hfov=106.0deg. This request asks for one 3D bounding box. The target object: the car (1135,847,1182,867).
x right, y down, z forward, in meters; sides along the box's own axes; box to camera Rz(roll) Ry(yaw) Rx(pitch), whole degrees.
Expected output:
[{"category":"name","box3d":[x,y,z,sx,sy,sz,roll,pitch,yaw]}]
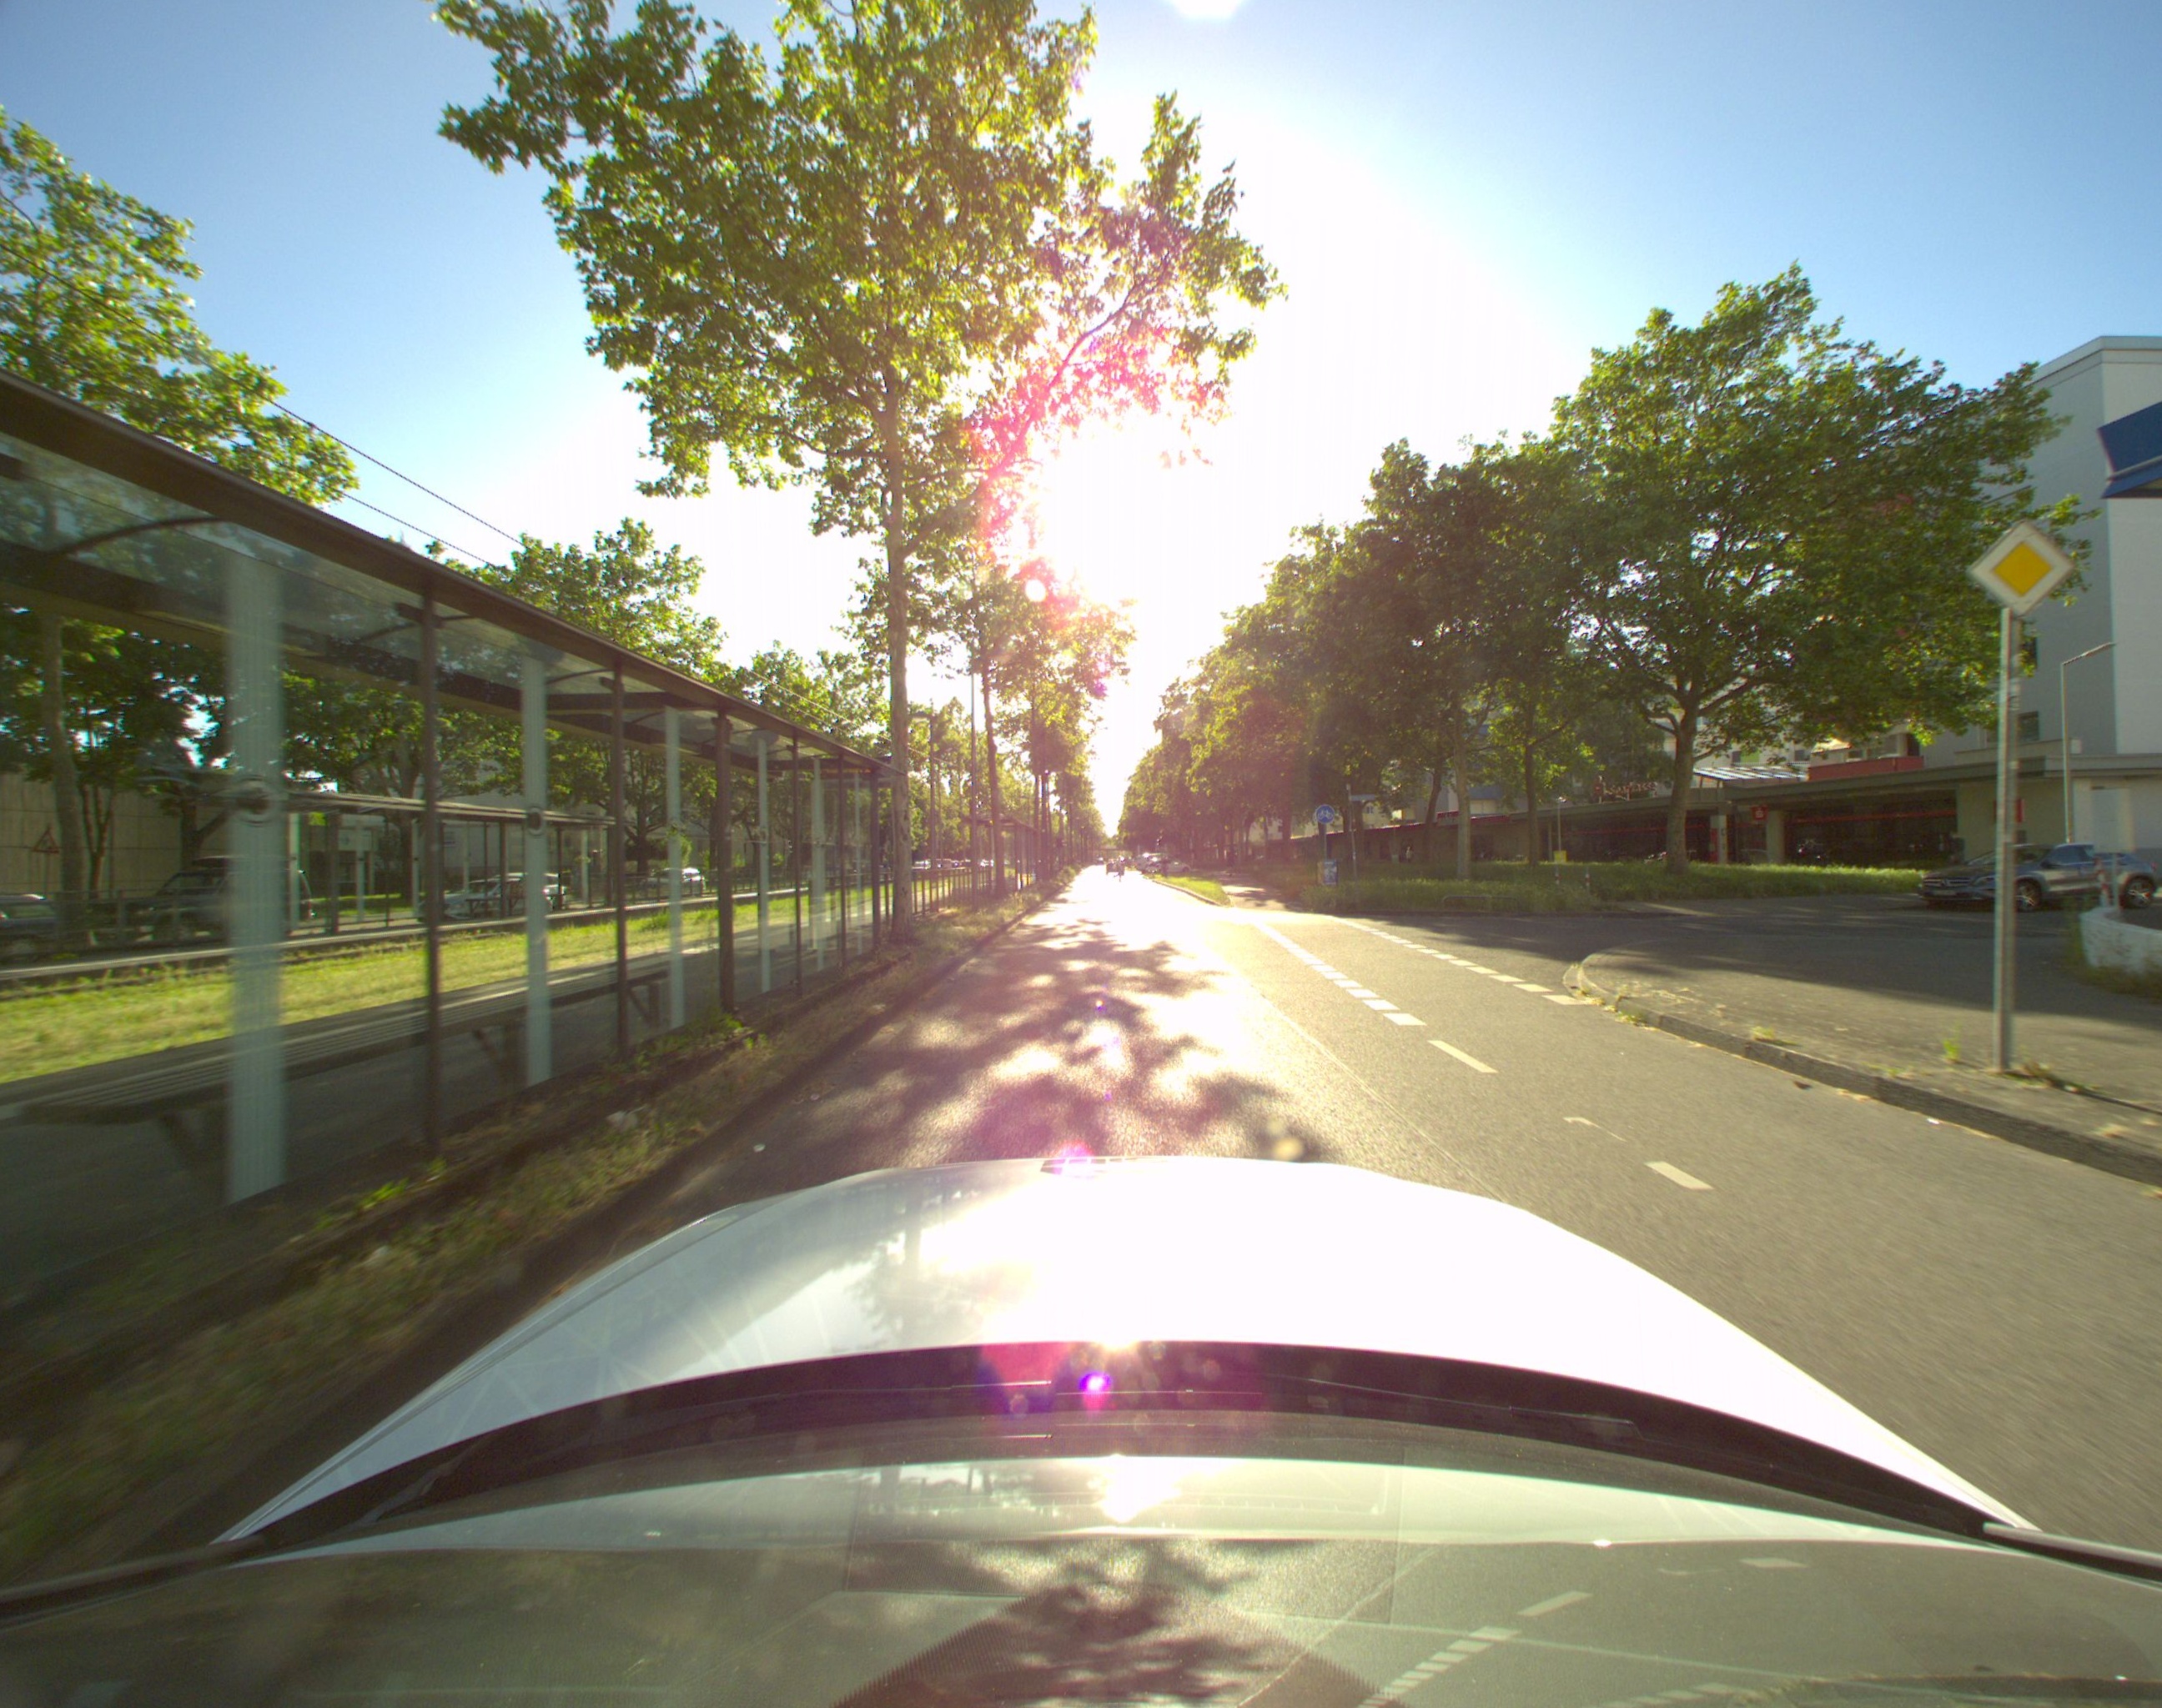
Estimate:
[{"category":"car","box3d":[7.743,0.303,81.008,4.694,1.853,1.809,-2,-1,-39]}]

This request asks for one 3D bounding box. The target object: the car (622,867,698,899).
[{"category":"car","box3d":[-22.546,1.521,43.832,1.707,1.546,4.203,-2,0,3]}]

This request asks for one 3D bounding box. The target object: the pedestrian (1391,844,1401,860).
[{"category":"pedestrian","box3d":[28.672,-0.151,74.070,0.530,1.430,0.715,-1,0,-4]}]

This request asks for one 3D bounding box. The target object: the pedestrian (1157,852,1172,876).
[{"category":"pedestrian","box3d":[6.042,0.710,58.996,0.715,1.706,0.647,-2,-1,-33]}]

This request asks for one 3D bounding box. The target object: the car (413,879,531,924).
[{"category":"car","box3d":[-19.602,1.483,26.383,1.258,1.241,3.376,-1,0,0]}]

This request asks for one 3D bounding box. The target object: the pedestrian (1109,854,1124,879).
[{"category":"pedestrian","box3d":[2.463,0.869,56.478,0.835,1.722,0.833,-2,0,16]}]

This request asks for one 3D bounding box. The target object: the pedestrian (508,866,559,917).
[{"category":"pedestrian","box3d":[-14.046,0.949,20.891,0.829,1.261,0.804,-1,-1,30]}]

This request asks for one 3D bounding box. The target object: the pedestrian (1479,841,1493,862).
[{"category":"pedestrian","box3d":[31.007,-0.216,62.375,0.669,1.584,0.715,-1,0,-4]}]

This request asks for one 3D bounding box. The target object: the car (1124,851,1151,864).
[{"category":"car","box3d":[8.883,0.509,127.366,4.105,1.811,1.632,-2,-1,-39]}]

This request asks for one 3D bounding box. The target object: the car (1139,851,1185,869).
[{"category":"car","box3d":[7.732,0.586,77.642,4.011,1.429,1.782,-4,0,-30]}]

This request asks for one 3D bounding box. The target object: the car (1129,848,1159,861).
[{"category":"car","box3d":[8.817,0.066,113.715,4.049,1.705,1.740,-2,-1,-40]}]

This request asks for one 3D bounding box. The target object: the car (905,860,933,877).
[{"category":"car","box3d":[-16.342,1.434,82.278,1.706,1.546,3.937,-2,0,3]}]

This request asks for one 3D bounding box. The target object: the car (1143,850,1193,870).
[{"category":"car","box3d":[7.577,0.549,70.882,4.011,1.469,1.744,-4,0,-30]}]

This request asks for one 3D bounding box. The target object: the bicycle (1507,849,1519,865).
[{"category":"bicycle","box3d":[32.138,0.202,60.604,0.592,1.179,1.861,0,0,23]}]

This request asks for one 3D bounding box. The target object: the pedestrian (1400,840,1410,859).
[{"category":"pedestrian","box3d":[29.547,-0.400,74.263,0.494,1.700,0.715,-1,0,-4]}]

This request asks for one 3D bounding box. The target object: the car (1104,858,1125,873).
[{"category":"car","box3d":[3.153,1.062,77.403,1.915,1.411,4.001,0,0,1]}]

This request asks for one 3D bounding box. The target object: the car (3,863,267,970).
[{"category":"car","box3d":[-22.554,1.382,19.695,1.708,2.262,3.933,-1,0,1]}]

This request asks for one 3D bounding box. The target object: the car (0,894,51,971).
[{"category":"car","box3d":[-22.493,1.610,15.117,1.588,1.488,4.020,-1,0,1]}]

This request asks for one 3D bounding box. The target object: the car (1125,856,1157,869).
[{"category":"car","box3d":[7.367,1.043,99.196,3.961,1.373,1.568,-2,-1,-42]}]

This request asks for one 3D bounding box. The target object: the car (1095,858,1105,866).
[{"category":"car","box3d":[3.467,1.447,147.766,1.842,1.535,3.868,-1,0,2]}]

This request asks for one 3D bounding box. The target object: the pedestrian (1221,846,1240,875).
[{"category":"pedestrian","box3d":[9.933,0.406,54.018,0.932,1.885,0.791,-1,0,-38]}]

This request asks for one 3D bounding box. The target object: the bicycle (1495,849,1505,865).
[{"category":"bicycle","box3d":[31.990,0.211,62.134,0.591,1.179,1.862,-1,-1,29]}]

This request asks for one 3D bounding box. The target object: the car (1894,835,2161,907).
[{"category":"car","box3d":[22.063,0.377,19.032,4.178,1.531,1.983,-1,-1,-1]}]
